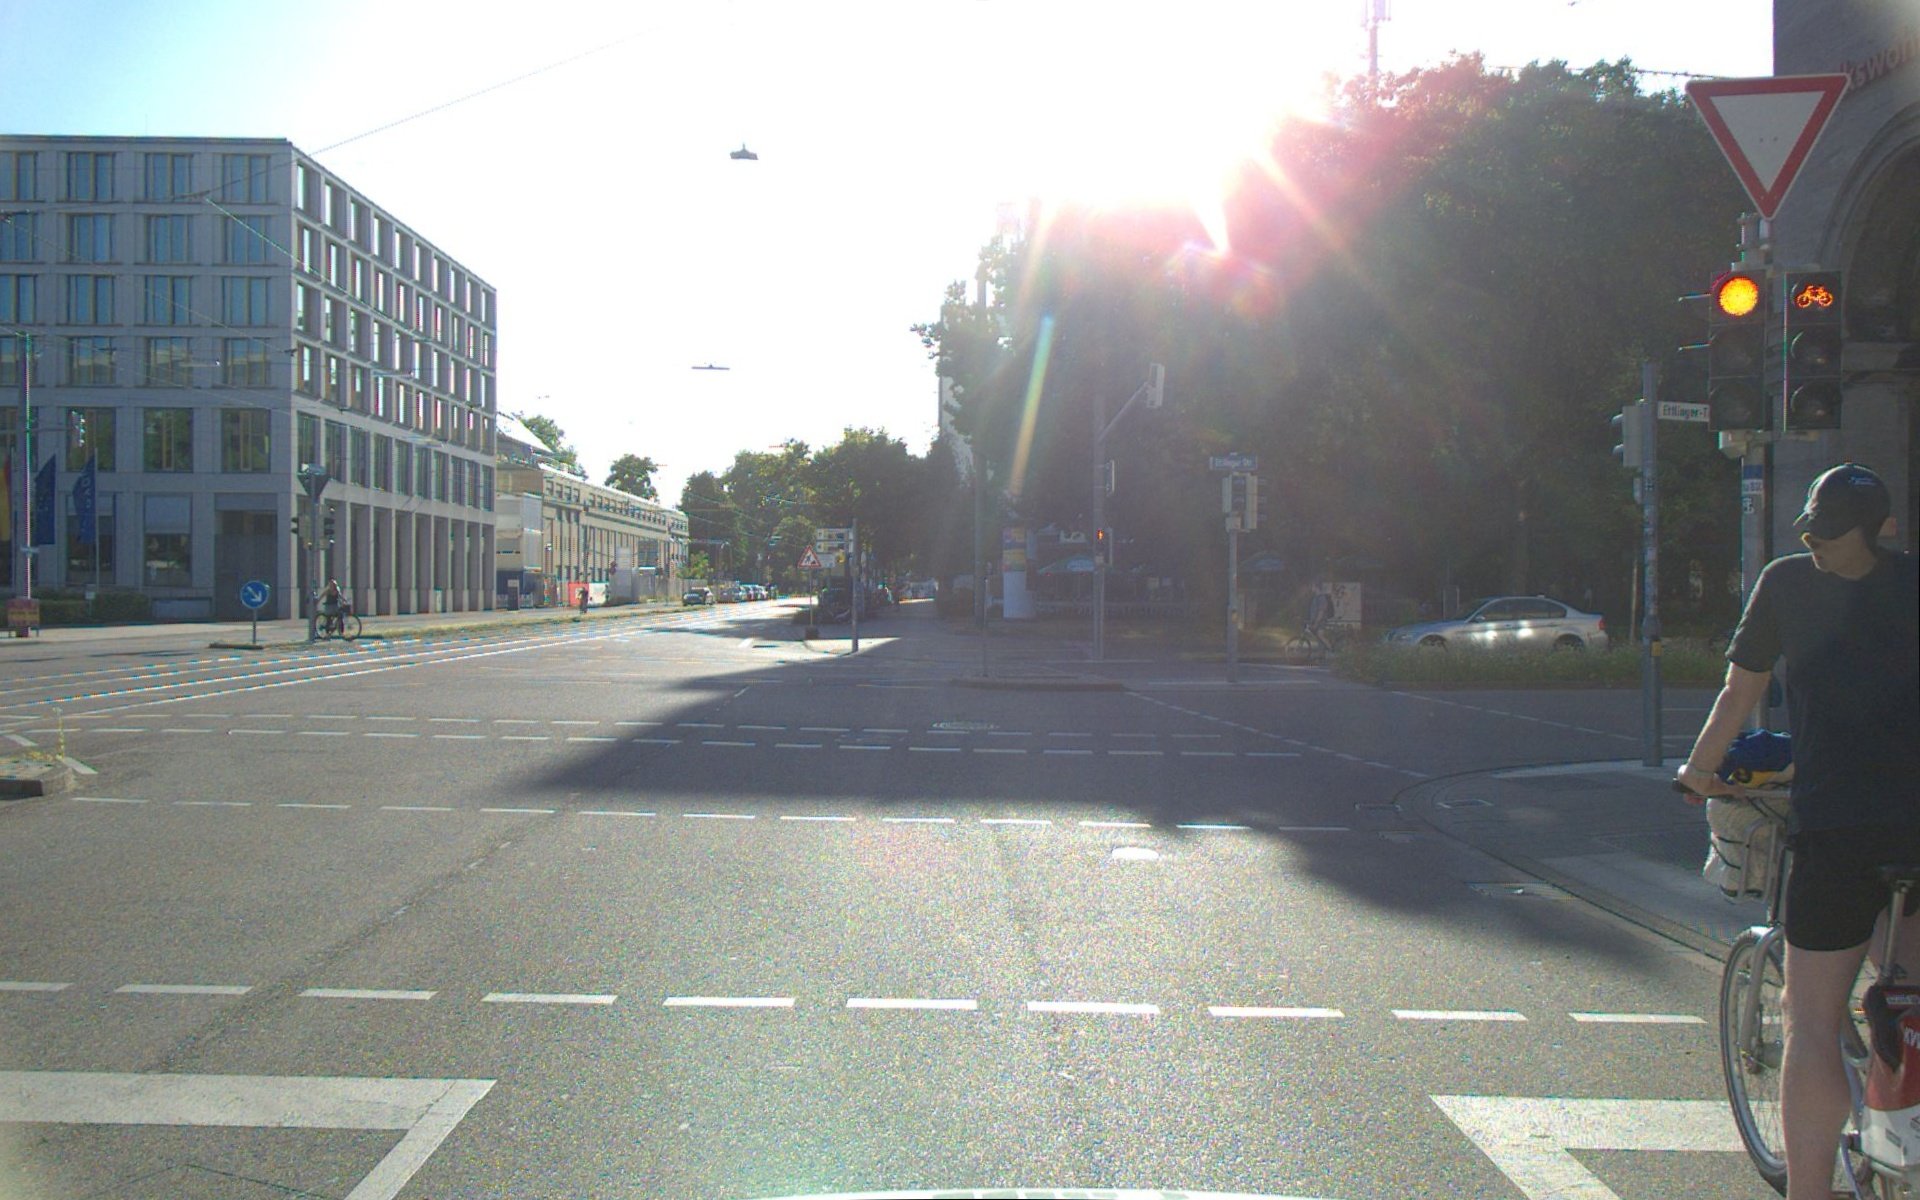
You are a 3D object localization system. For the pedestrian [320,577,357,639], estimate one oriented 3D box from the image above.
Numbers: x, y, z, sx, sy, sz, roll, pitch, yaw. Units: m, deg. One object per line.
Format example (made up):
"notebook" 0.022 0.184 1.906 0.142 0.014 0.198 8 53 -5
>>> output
"pedestrian" -16.348 0.206 43.514 0.727 1.623 0.573 0 0 26

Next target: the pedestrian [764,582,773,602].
"pedestrian" -19.871 -0.842 171.468 0.735 2.099 1.050 1 -1 5

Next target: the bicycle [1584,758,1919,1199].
"bicycle" 2.134 0.995 3.905 0.610 1.062 1.746 0 0 -2

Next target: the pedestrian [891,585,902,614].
"pedestrian" -3.746 -0.032 97.501 0.566 1.719 0.584 0 0 -8

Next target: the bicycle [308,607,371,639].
"bicycle" -16.314 0.603 43.494 1.679 0.837 0.573 0 0 27

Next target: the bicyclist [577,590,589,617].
"bicyclist" -21.886 0.205 95.969 0.484 1.525 0.666 0 0 2

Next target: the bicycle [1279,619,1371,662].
"bicycle" 8.034 0.881 36.476 1.902 0.905 0.718 1 0 5

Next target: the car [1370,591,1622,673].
"car" 10.849 0.630 33.716 4.483 1.543 2.000 1 0 -1

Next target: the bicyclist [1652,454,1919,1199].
"bicyclist" 2.138 0.567 3.893 0.610 1.745 0.912 0 0 -2

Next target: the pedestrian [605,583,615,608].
"pedestrian" -27.265 -0.353 128.779 0.575 1.922 0.478 1 -1 12

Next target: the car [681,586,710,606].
"car" -21.699 -0.353 135.930 1.954 1.627 3.997 0 1 -3

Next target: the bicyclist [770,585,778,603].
"bicyclist" -19.807 -0.638 176.339 0.735 1.953 1.214 1 0 -2

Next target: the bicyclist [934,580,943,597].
"bicyclist" -2.605 -1.381 200.499 0.875 2.049 0.746 1 -1 -12

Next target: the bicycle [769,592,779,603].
"bicycle" -19.813 -0.254 176.456 0.735 1.226 3.107 1 0 -2

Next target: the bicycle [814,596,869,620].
"bicycle" -4.809 0.325 67.137 2.201 0.956 0.653 0 0 -6

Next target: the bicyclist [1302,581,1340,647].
"bicyclist" 7.955 0.305 36.483 0.731 1.431 0.702 1 -1 6

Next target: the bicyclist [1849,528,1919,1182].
"bicyclist" 2.880 0.690 4.345 0.572 1.769 0.950 0 0 0

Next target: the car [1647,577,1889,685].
"car" 16.228 0.611 33.370 3.905 2.049 2.000 1 0 0

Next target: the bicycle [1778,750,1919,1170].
"bicycle" 2.881 1.011 4.380 0.570 1.062 1.747 0 0 0

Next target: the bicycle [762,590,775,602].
"bicycle" -19.878 -0.410 171.399 0.735 1.226 3.109 1 0 5

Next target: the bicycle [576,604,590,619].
"bicycle" -21.880 0.666 95.978 0.484 0.854 1.156 0 0 2

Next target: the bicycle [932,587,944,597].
"bicycle" -2.672 -0.949 200.712 0.875 1.240 2.785 1 0 -12
